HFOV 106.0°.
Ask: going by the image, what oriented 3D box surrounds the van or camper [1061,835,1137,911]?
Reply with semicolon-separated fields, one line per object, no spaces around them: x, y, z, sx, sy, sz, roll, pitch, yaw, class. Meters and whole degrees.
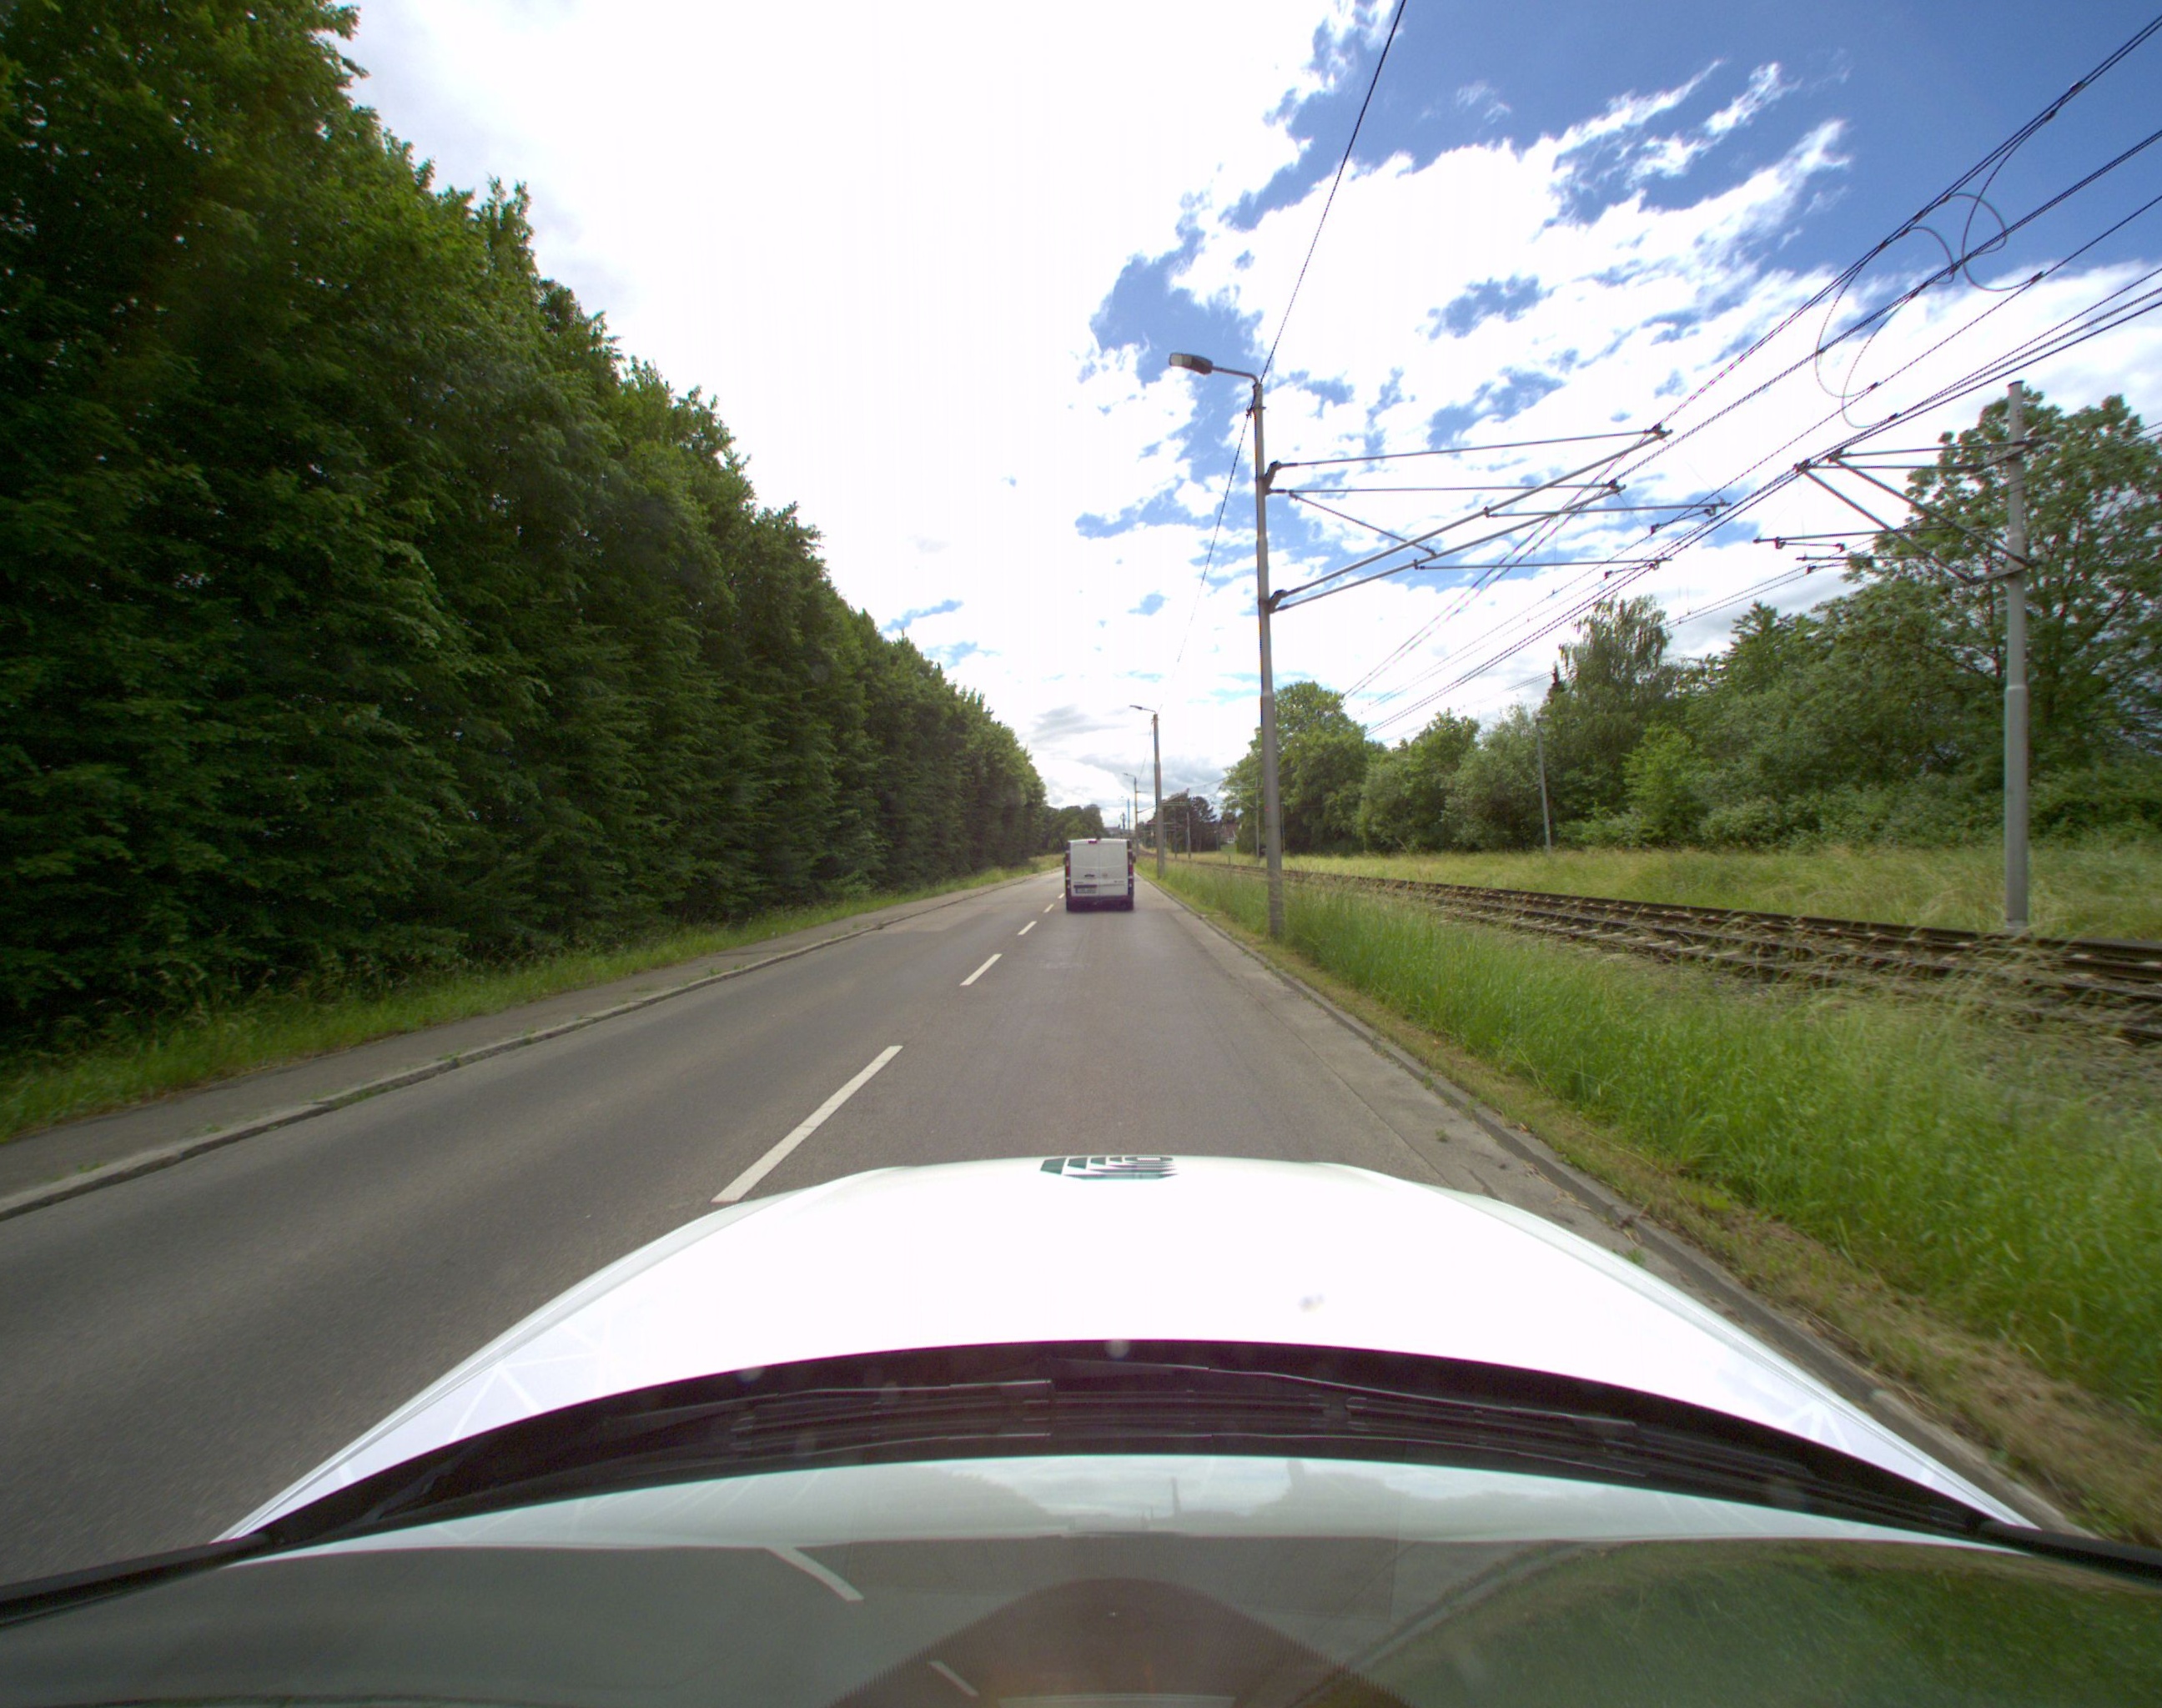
0.574;0.497;23.406;1.934;1.897;4.288;-2;0;3;van or camper
